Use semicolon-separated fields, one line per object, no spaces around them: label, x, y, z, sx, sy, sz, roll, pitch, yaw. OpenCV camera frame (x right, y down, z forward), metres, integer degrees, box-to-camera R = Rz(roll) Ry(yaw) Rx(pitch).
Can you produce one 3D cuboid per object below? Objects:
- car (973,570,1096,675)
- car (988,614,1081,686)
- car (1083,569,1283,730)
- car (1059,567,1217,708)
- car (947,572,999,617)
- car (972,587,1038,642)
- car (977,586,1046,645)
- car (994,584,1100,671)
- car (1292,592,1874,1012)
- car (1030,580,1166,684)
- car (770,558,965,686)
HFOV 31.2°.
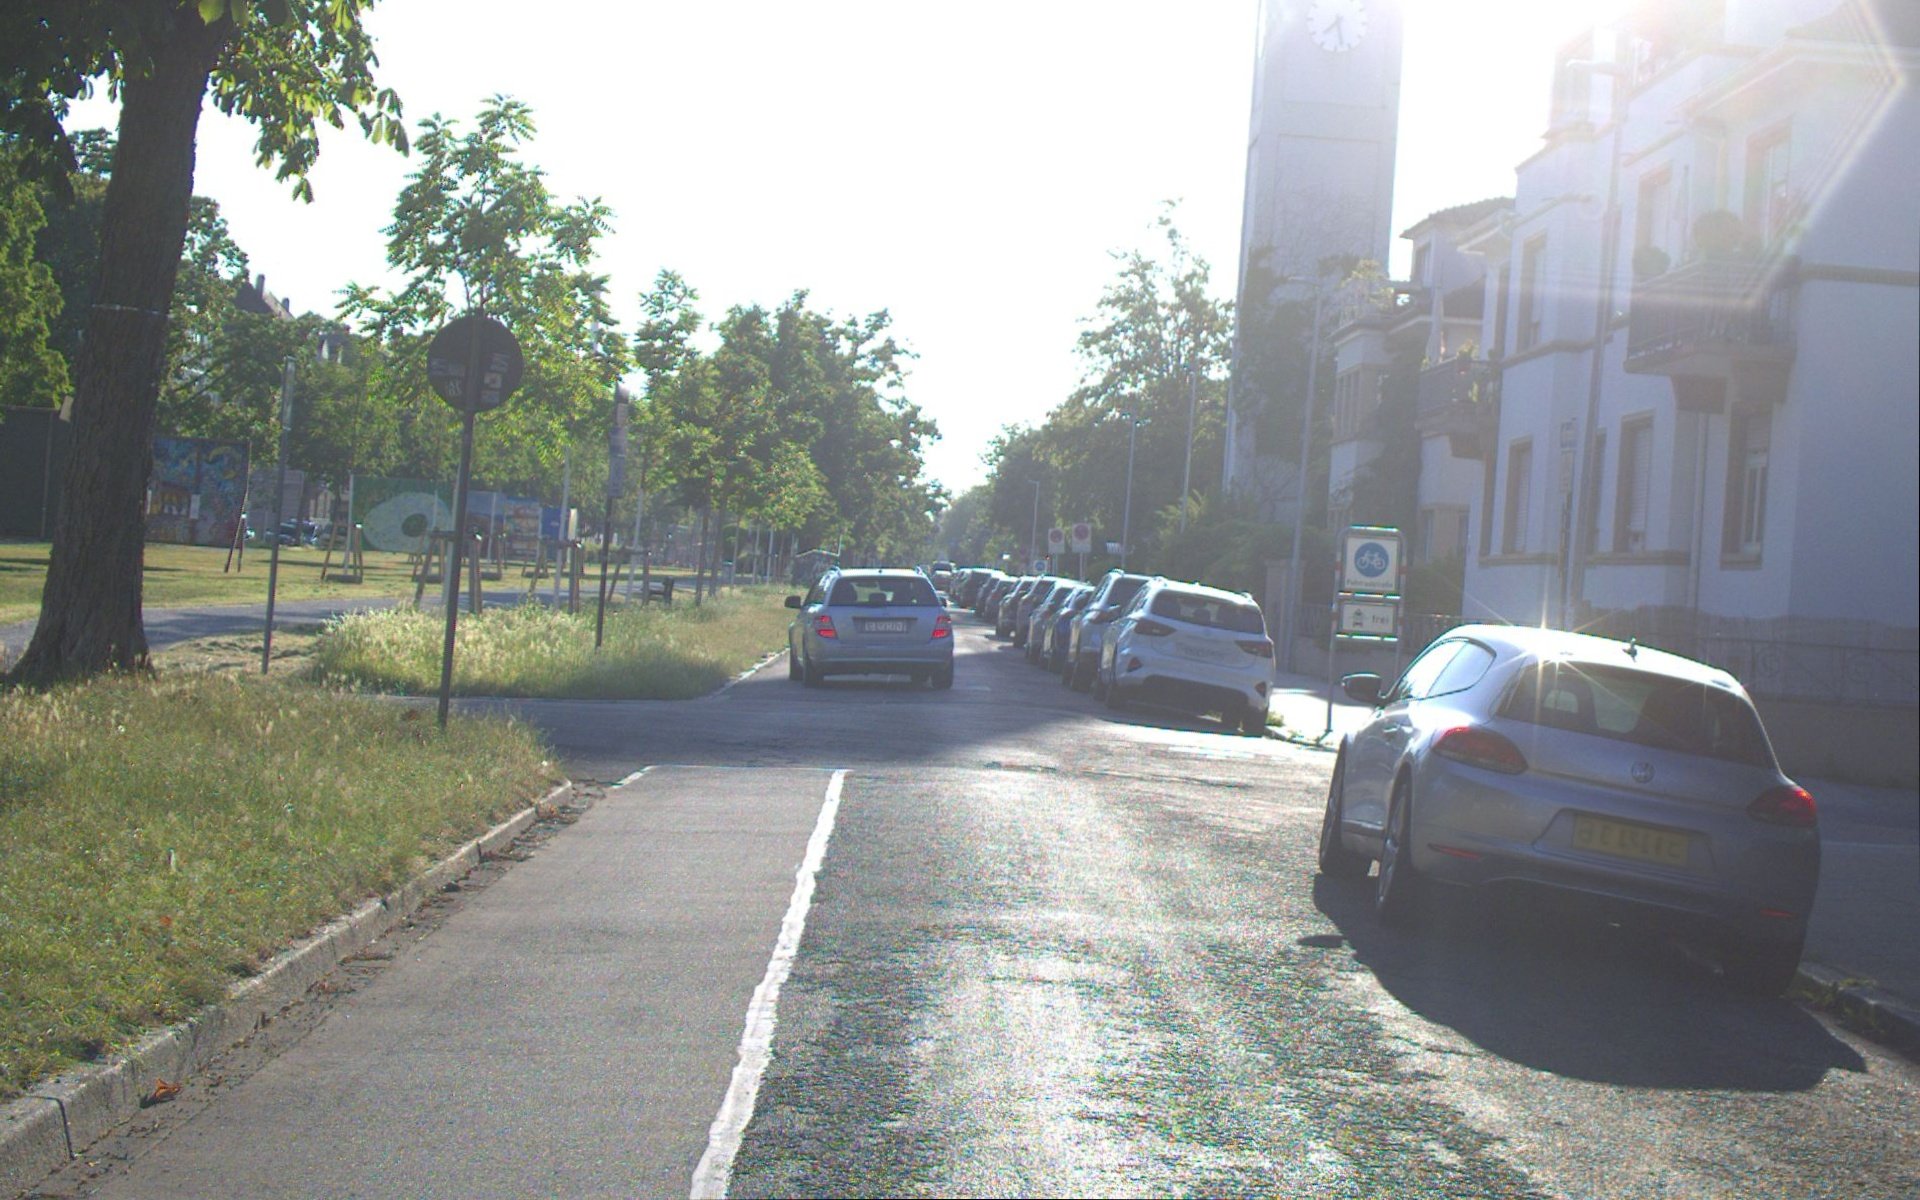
car;1.254;0.371;59.595;1.758;1.599;4.359;5;0;-2
car;1.724;1.154;80.601;1.993;1.459;4.000;5;0;0
car;2.501;0.532;39.510;1.758;1.599;4.359;5;0;-2
car;2.308;0.452;45.504;1.685;1.645;4.100;5;1;-1
car;0.549;-0.209;141.460;1.980;1.677;4.000;5;0;0
car;1.461;0.473;113.186;1.993;1.624;4.000;5;0;0
car;1.580;0.487;106.737;1.993;1.624;4.000;5;0;0
car;1.741;0.550;69.968;1.761;1.516;4.000;7;0;-2
car;2.763;0.835;16.190;1.757;1.415;4.072;11;0;0
car;2.140;0.473;54.236;1.761;1.415;4.000;5;1;-2
car;-1.164;0.250;41.495;1.760;1.415;4.001;2;0;-10
